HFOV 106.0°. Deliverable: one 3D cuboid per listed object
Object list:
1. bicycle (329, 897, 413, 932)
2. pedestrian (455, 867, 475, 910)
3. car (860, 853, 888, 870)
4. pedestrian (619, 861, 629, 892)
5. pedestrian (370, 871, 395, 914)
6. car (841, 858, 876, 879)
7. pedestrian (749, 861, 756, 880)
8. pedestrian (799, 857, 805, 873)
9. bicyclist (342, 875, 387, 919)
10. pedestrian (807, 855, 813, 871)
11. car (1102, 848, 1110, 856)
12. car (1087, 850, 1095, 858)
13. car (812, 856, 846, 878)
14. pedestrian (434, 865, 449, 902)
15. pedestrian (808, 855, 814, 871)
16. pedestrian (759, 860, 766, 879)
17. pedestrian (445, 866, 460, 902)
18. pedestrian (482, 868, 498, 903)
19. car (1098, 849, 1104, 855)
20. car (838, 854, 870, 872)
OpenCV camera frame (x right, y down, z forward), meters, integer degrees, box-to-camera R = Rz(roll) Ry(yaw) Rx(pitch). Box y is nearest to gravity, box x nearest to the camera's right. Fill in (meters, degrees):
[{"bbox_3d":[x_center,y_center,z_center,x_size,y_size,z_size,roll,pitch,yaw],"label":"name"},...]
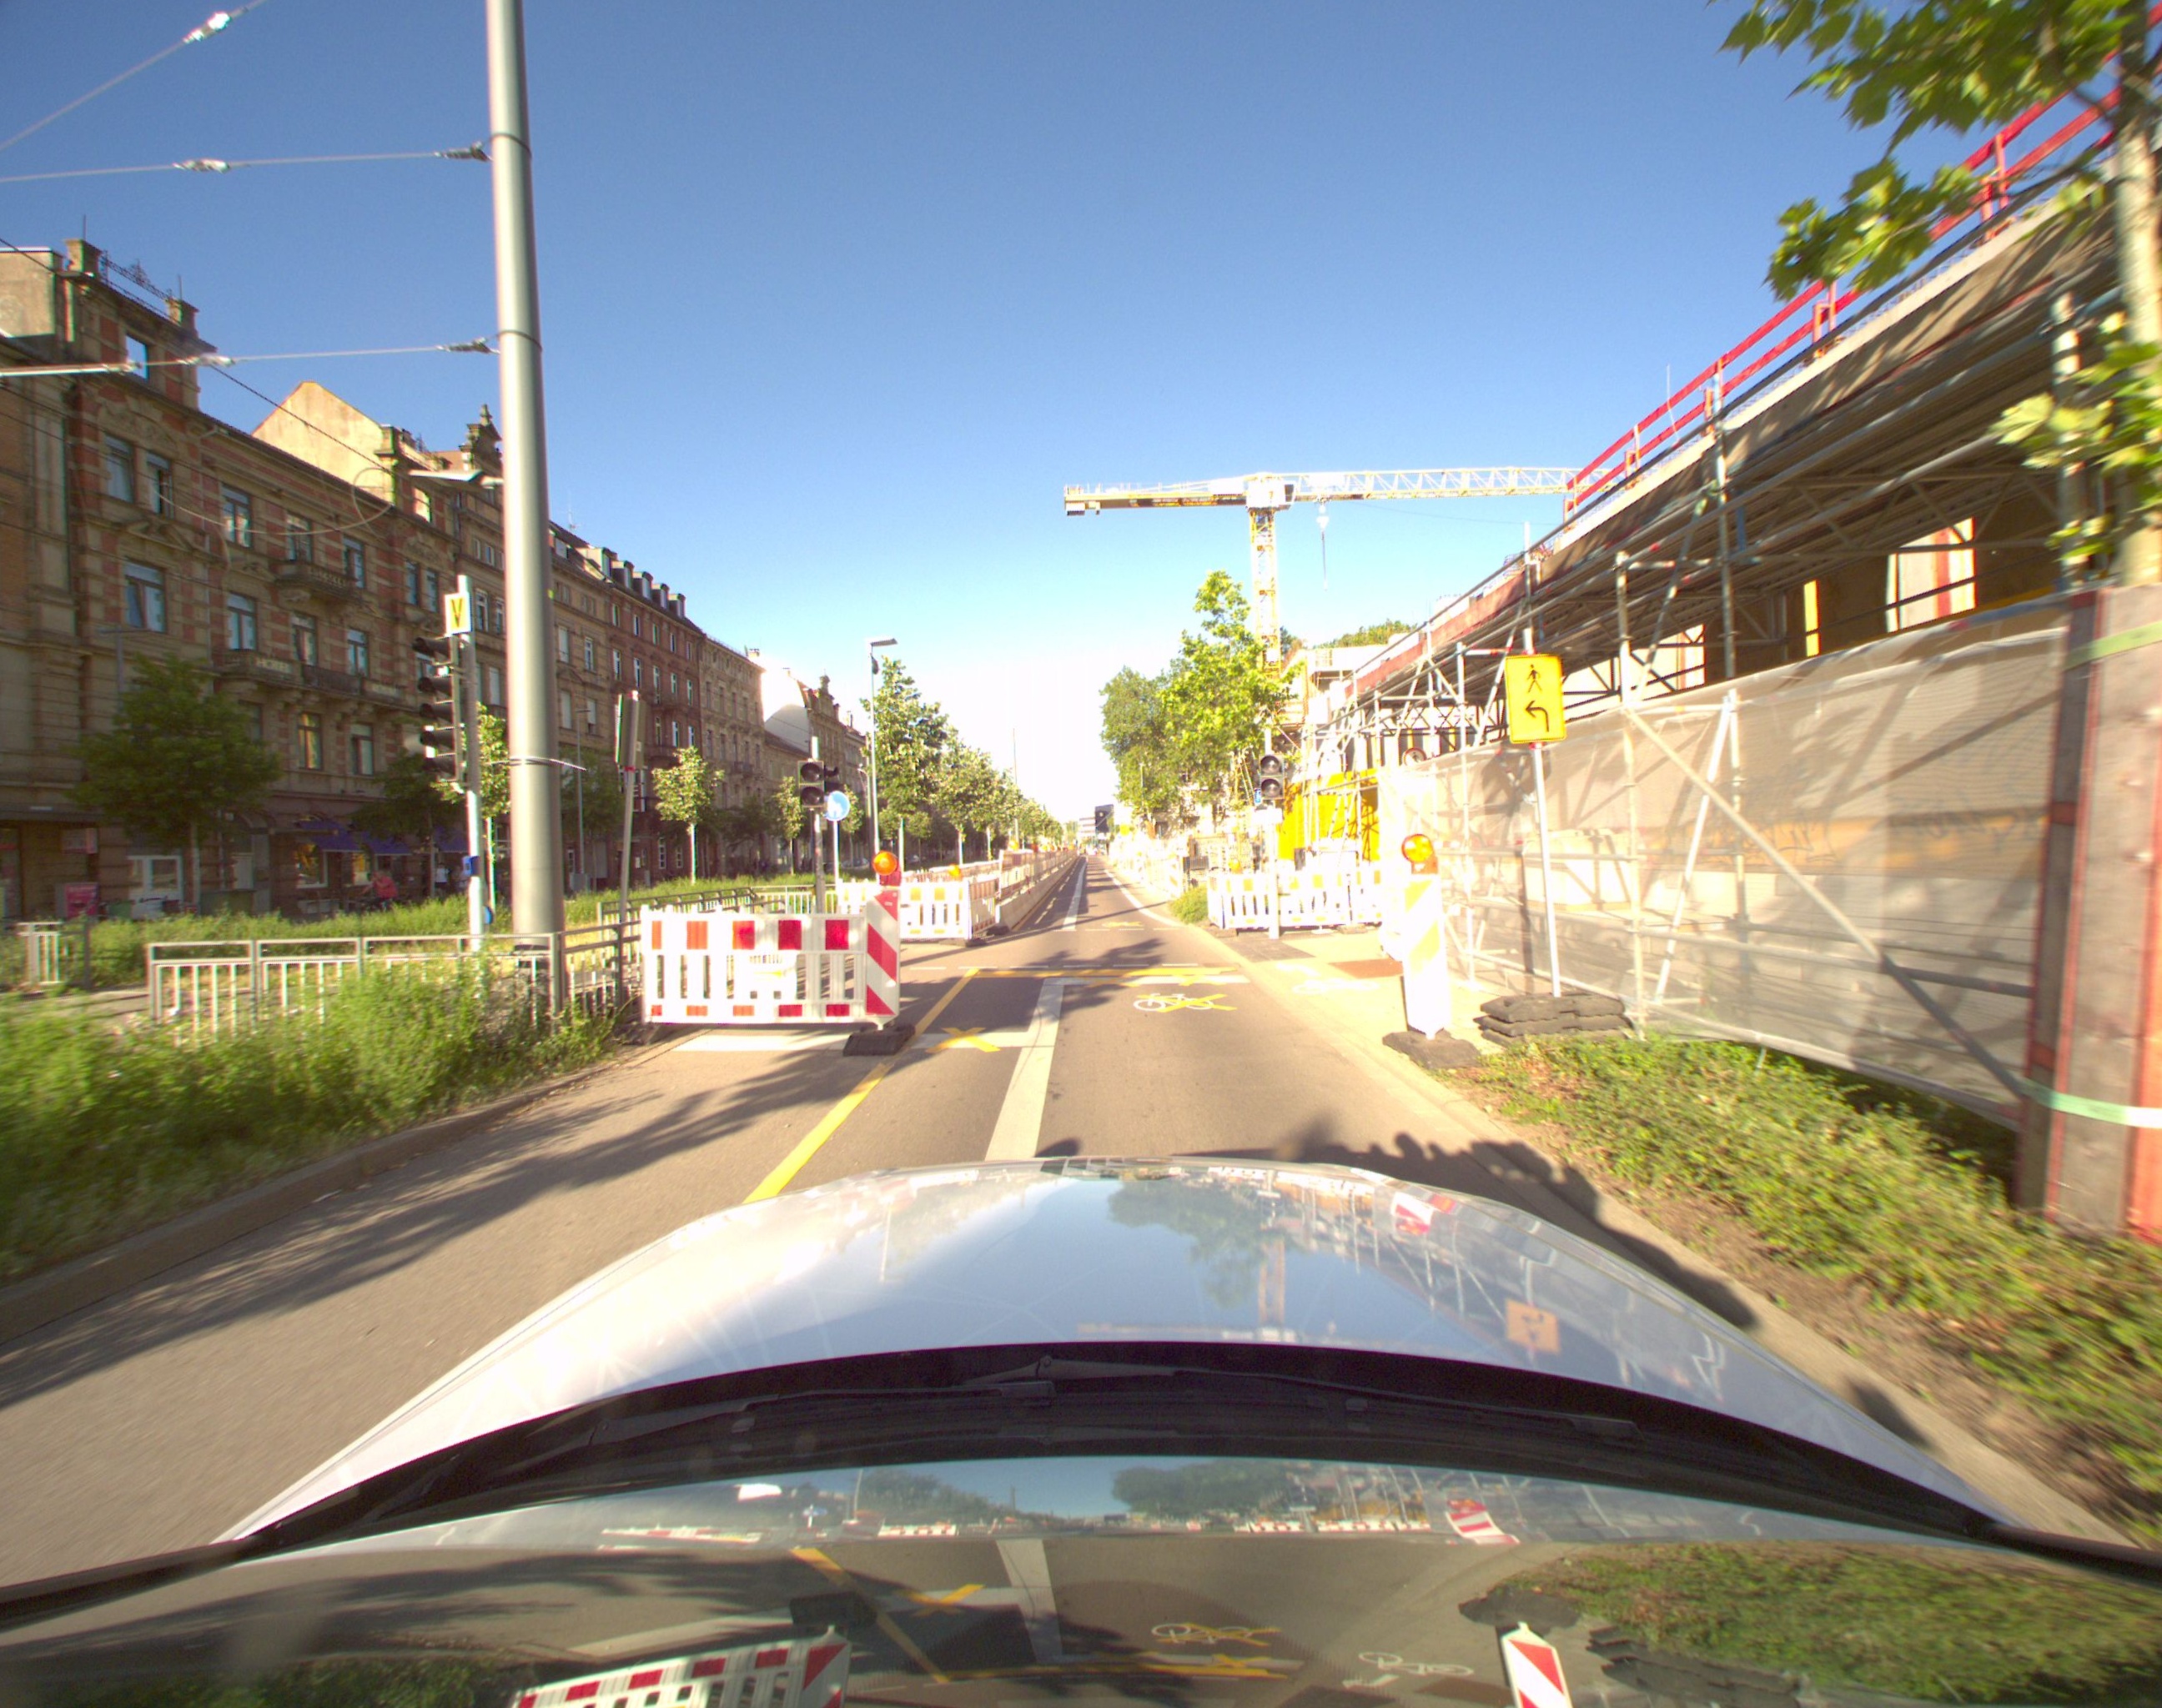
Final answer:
[{"bbox_3d":[-21.047,1.775,24.195,0.635,0.857,2.032,-2,0,2],"label":"bicycle"},{"bbox_3d":[-25.428,1.426,33.610,0.506,1.764,0.406,0,0,0],"label":"pedestrian"},{"bbox_3d":[-21.196,0.766,83.423,1.561,1.562,4.714,-2,1,0],"label":"car"},{"bbox_3d":[-26.657,1.319,47.504,0.365,1.764,0.406,0,0,0],"label":"pedestrian"},{"bbox_3d":[-25.964,1.414,30.274,0.485,1.585,0.533,0,0,1],"label":"pedestrian"},{"bbox_3d":[-17.201,1.117,63.097,1.588,1.483,3.625,-2,0,2],"label":"car"},{"bbox_3d":[-27.149,1.348,67.273,0.432,1.585,0.385,0,0,-2],"label":"pedestrian"},{"bbox_3d":[-26.577,1.037,77.508,0.460,1.585,0.434,0,0,-6],"label":"pedestrian"},{"bbox_3d":[-21.062,1.246,23.950,0.635,1.239,0.739,-2,0,2],"label":"bicyclist"},{"bbox_3d":[-25.726,0.839,77.408,0.404,1.534,0.435,0,0,1],"label":"pedestrian"},{"bbox_3d":[6.702,-0.573,218.051,1.877,1.842,3.668,-2,1,1],"label":"car"},{"bbox_3d":[2.310,0.000,192.580,1.877,1.842,3.668,-2,1,1],"label":"car"},{"bbox_3d":[-21.470,1.078,69.561,1.561,1.675,3.809,-2,1,1],"label":"car"},{"bbox_3d":[-28.082,1.290,35.760,0.381,1.585,0.393,0,0,31],"label":"pedestrian"},{"bbox_3d":[-25.648,0.832,77.288,0.404,1.532,0.435,0,0,1],"label":"pedestrian"},{"bbox_3d":[-26.287,1.281,67.264,0.427,1.585,0.339,0,0,2],"label":"pedestrian"},{"bbox_3d":[-27.823,1.334,36.052,0.486,1.585,0.477,0,0,-34],"label":"pedestrian"},{"bbox_3d":[-26.714,1.418,36.812,0.402,1.585,0.426,0,0,0],"label":"pedestrian"},{"bbox_3d":[6.337,-0.685,261.553,1.877,1.842,3.668,-2,1,1],"label":"car"},{"bbox_3d":[-21.293,0.792,76.635,1.561,1.562,4.715,-2,1,1],"label":"car"}]
